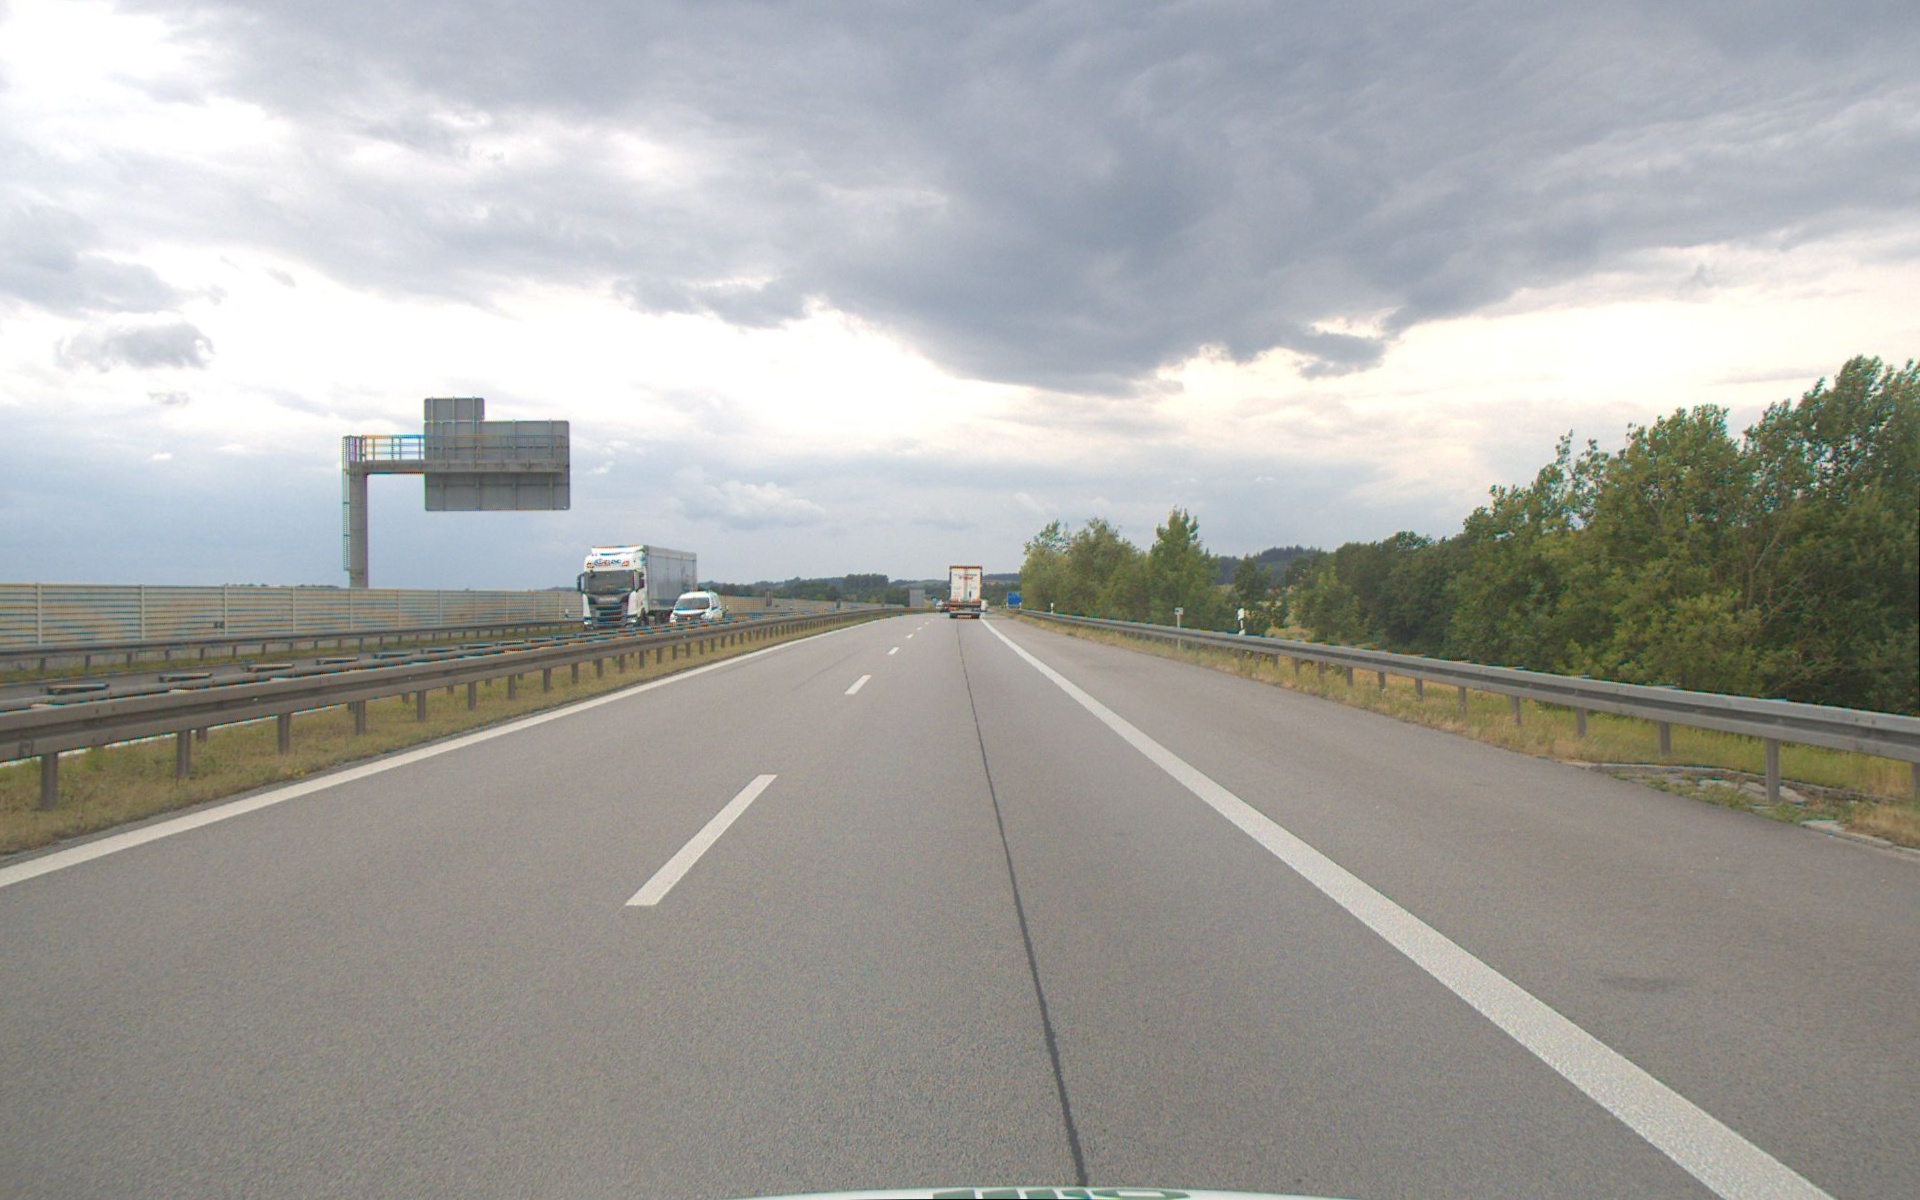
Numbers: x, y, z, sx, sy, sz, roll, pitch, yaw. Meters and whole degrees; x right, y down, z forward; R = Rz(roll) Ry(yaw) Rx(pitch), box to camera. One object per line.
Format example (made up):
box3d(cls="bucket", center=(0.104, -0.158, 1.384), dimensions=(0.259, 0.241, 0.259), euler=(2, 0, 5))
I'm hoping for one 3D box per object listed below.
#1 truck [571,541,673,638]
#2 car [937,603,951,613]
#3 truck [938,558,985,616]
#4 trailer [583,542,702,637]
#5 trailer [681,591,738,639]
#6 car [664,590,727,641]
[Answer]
box3d(cls="truck", center=(-15.175, -0.457, 74.785), dimensions=(3.046, 4.084, 7.323), euler=(-2, 0, -1))
box3d(cls="car", center=(-2.453, 1.269, 257.000), dimensions=(1.954, 1.445, 3.998), euler=(1, 1, -3))
box3d(cls="truck", center=(0.100, -0.964, 137.070), dimensions=(3.597, 4.490, 16.338), euler=(0, 0, 0))
box3d(cls="trailer", center=(-15.200, -0.471, 80.584), dimensions=(3.114, 4.147, 14.021), euler=(-2, 0, -1))
box3d(cls="trailer", center=(-10.841, 0.659, 71.817), dimensions=(1.778, 1.879, 3.862), euler=(5, 0, -1))
box3d(cls="car", center=(-10.802, 0.642, 67.783), dimensions=(1.778, 1.879, 4.180), euler=(5, 0, -1))
